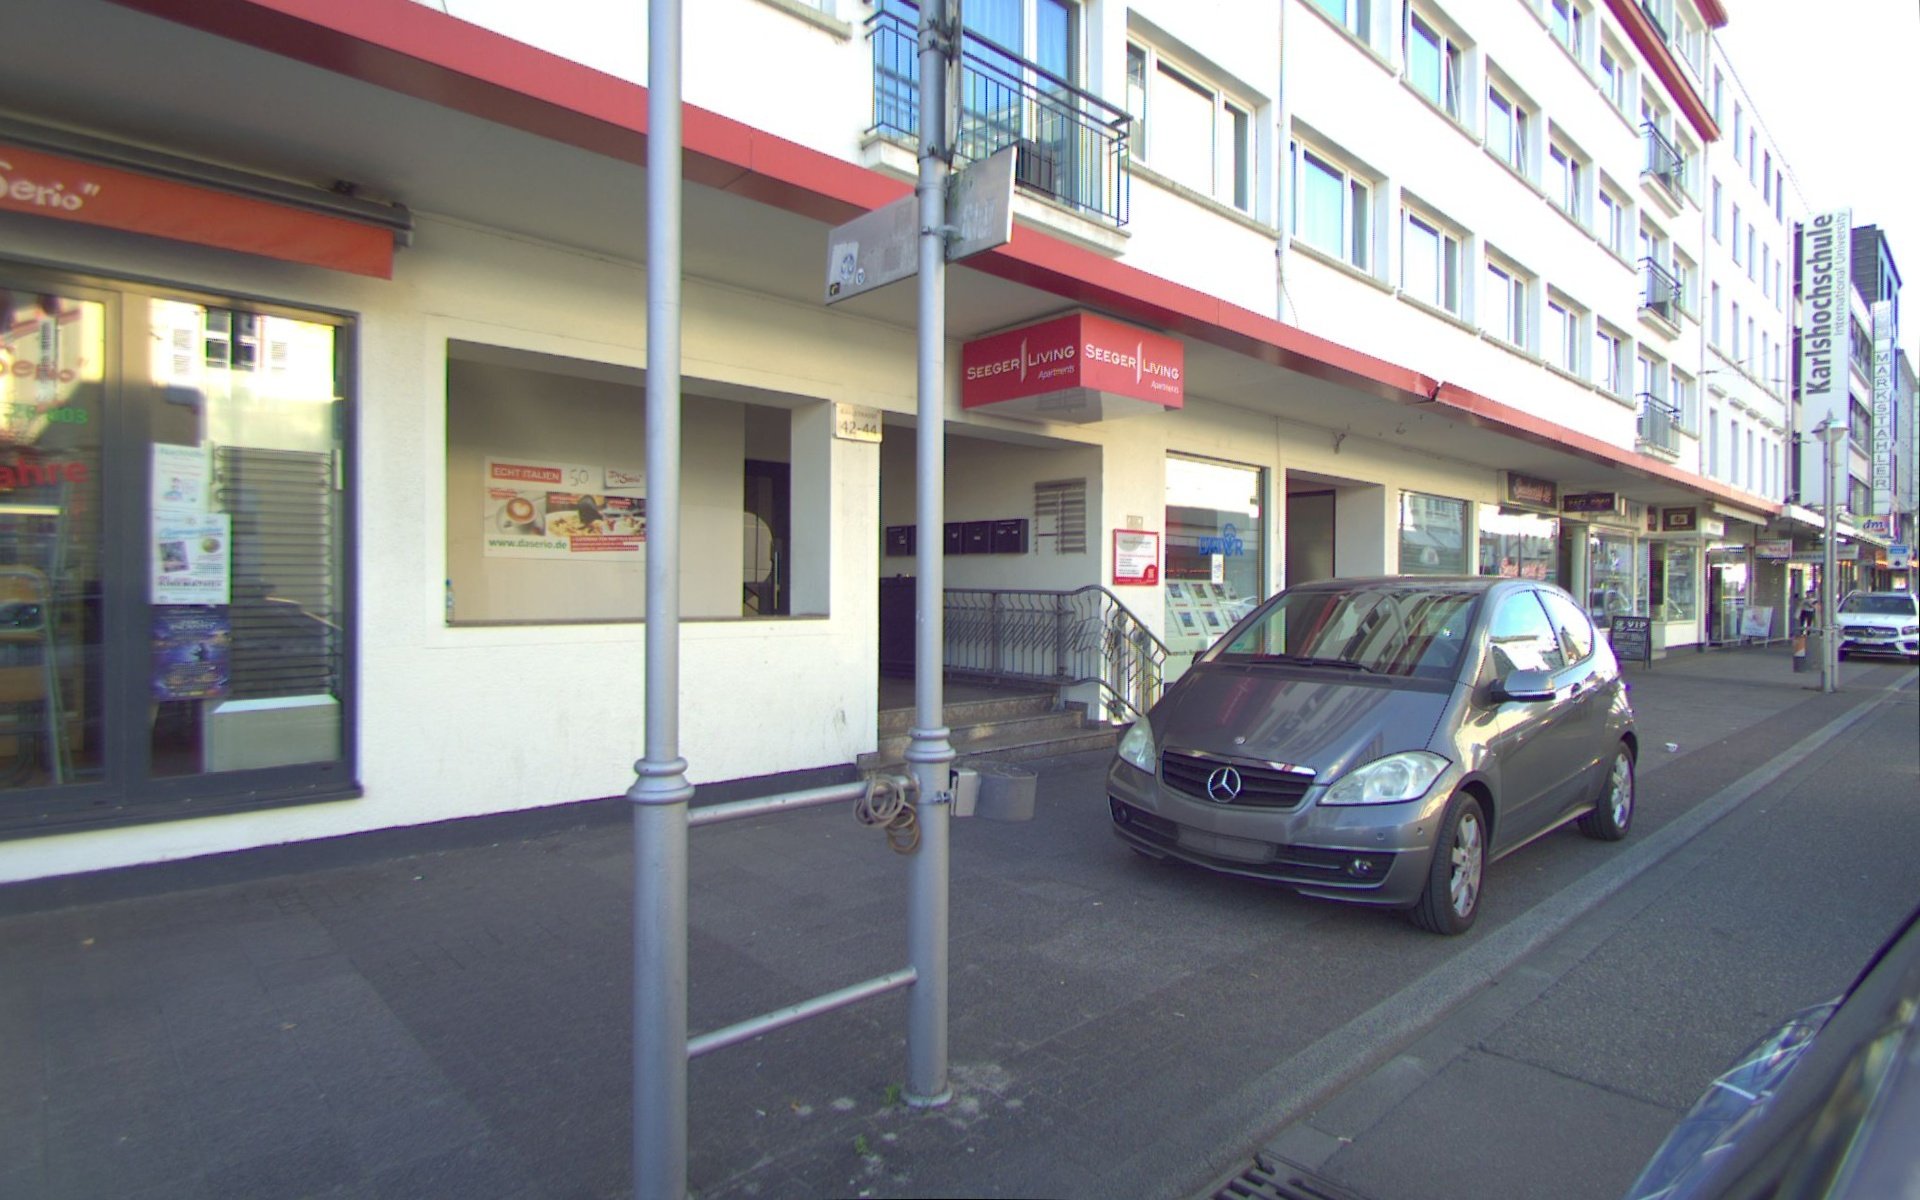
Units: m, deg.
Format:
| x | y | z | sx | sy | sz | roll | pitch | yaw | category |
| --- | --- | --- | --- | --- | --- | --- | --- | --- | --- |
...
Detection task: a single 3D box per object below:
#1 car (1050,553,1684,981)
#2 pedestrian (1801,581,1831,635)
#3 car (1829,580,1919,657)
| x | y | z | sx | sy | sz | roll | pitch | yaw | category |
| --- | --- | --- | --- | --- | --- | --- | --- | --- | --- |
| 2.491 | 0.563 | 5.713 | 3.893 | 1.588 | 1.780 | -1 | 2 | -42 | car |
| 29.434 | 0.275 | 34.793 | 0.794 | 1.840 | 0.704 | -1 | 0 | -44 | pedestrian |
| 22.335 | 0.370 | 24.245 | 4.092 | 1.684 | 1.781 | -1 | 2 | -42 | car |
